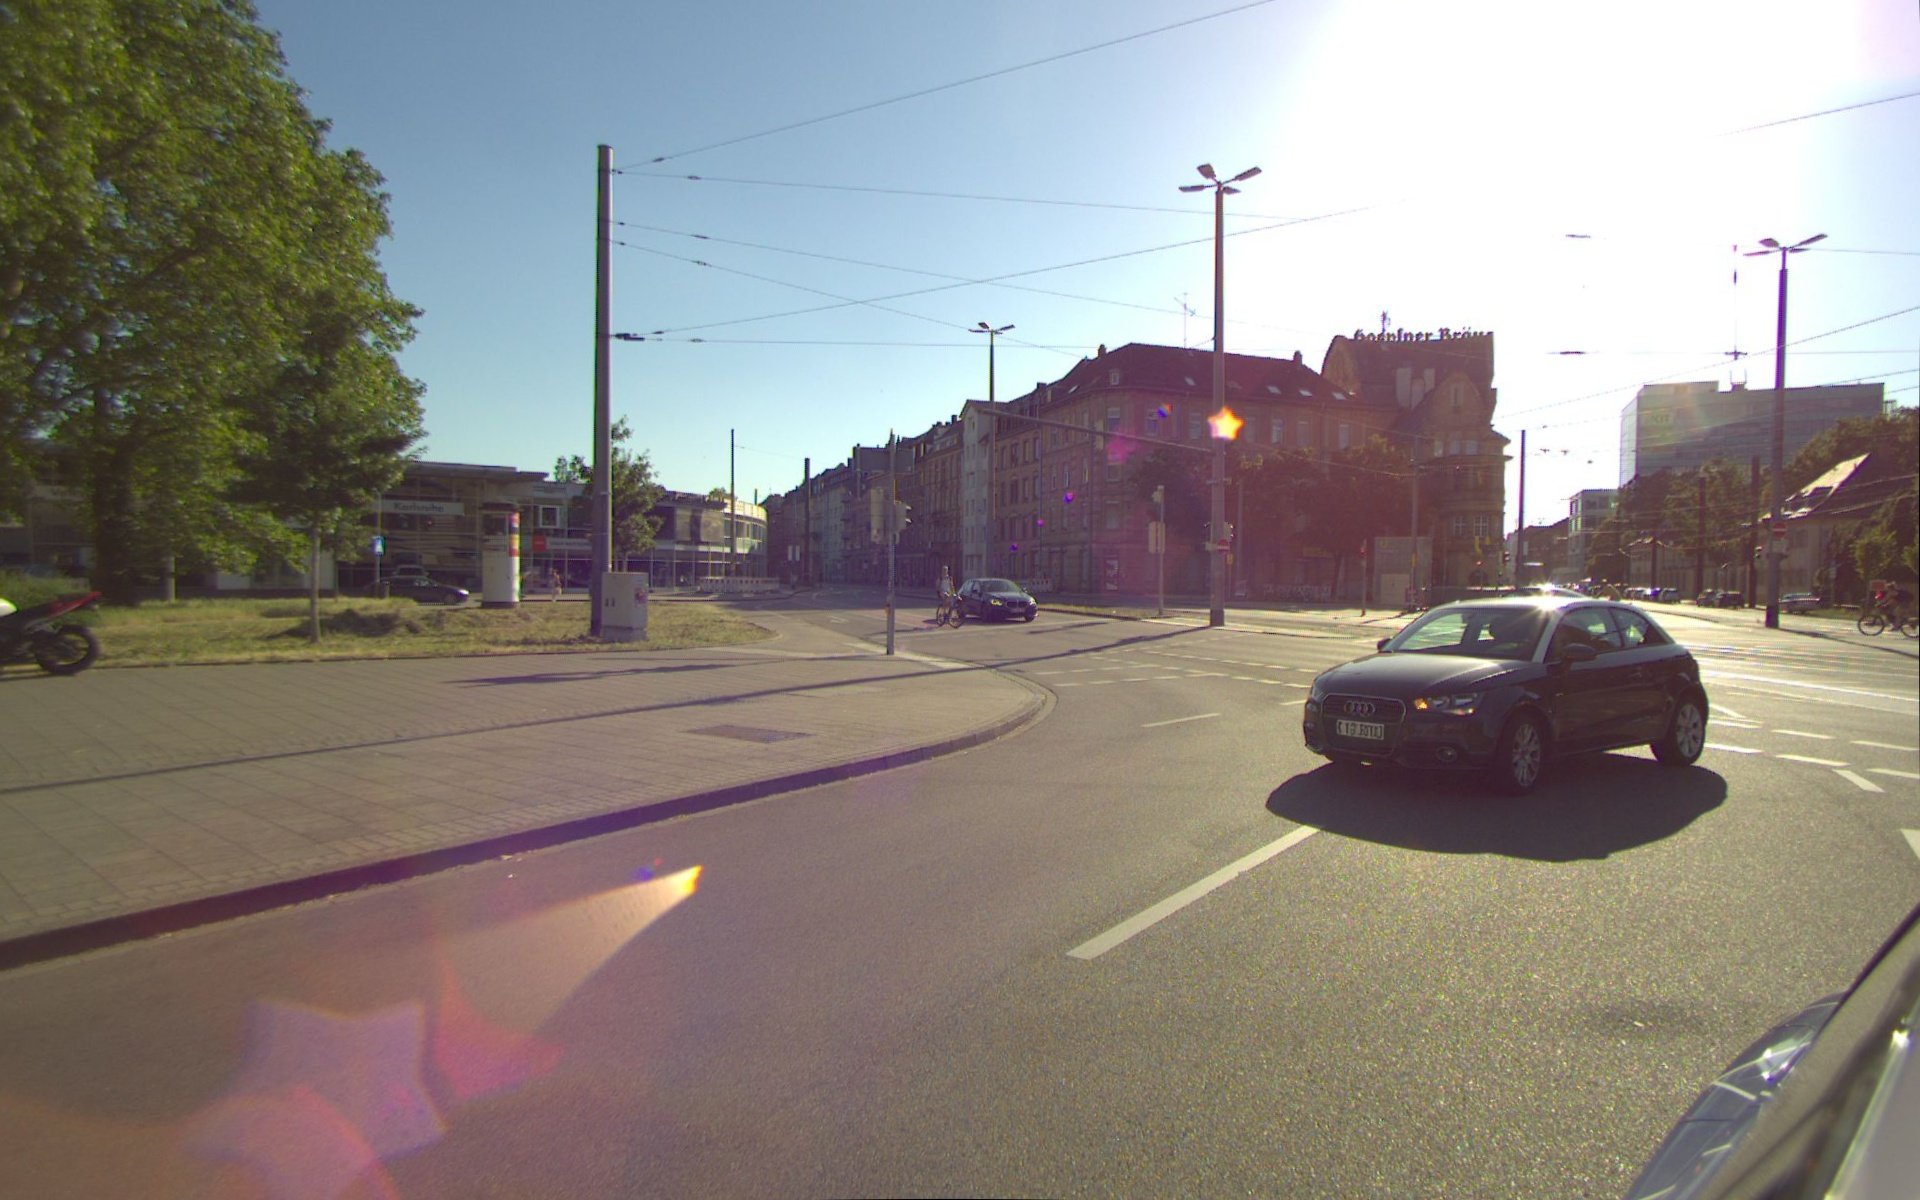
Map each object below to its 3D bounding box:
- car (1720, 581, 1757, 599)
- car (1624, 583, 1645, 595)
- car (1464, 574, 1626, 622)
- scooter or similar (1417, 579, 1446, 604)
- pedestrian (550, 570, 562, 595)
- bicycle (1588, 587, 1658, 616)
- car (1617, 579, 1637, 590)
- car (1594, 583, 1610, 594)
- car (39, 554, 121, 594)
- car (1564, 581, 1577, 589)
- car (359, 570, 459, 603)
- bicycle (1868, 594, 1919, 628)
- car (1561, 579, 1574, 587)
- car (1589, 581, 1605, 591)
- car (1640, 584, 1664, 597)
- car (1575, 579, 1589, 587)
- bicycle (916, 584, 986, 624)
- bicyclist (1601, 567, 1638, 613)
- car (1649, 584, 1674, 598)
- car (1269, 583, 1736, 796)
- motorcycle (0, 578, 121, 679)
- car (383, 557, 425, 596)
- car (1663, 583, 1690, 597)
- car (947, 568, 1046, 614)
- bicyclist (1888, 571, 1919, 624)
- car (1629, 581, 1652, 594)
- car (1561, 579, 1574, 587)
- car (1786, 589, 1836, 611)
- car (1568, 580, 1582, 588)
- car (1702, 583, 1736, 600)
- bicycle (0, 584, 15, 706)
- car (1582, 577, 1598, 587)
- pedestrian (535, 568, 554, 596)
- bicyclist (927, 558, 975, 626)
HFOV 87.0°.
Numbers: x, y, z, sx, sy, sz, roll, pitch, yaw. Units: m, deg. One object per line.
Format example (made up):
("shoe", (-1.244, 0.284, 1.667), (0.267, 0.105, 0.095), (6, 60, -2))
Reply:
("car", (68.272, -0.840, 88.820), (1.738, 1.482, 3.983), (1, 0, 25))
("car", (88.576, -1.490, 132.997), (1.738, 1.482, 3.983), (1, 0, 25))
("car", (20.049, -0.085, 34.905), (1.780, 1.511, 4.661), (0, 0, -26))
("scooter or similar", (23.849, -0.421, 51.193), (0.716, 1.215, 1.446), (2, 1, 0))
("pedestrian", (-22.177, -0.958, 55.545), (0.405, 1.331, 0.572), (0, 1, -43))
("bicycle", (25.596, 0.043, 39.093), (0.754, 1.040, 2.105), (1, 2, -38))
("car", (92.976, -2.197, 141.058), (1.738, 1.482, 3.983), (1, 0, 25))
("car", (101.412, -1.867, 159.896), (1.738, 1.626, 3.983), (1, 0, 25))
("car", (-43.702, -1.285, 50.241), (3.968, 1.528, 1.782), (7, 2, 29))
("car", (118.126, -2.949, 195.871), (1.738, 1.482, 3.983), (1, 0, 25))
("car", (-26.434, -0.657, 48.607), (4.083, 1.353, 1.756), (3, 0, -30))
("bicycle", (31.422, 0.376, 33.504), (0.635, 1.040, 1.910), (1, 1, -27))
("car", (122.818, -3.462, 204.560), (1.738, 1.482, 3.983), (1, 0, 25))
("car", (104.897, -2.345, 166.699), (1.738, 1.482, 3.983), (1, 0, 25))
("car", (83.034, -1.174, 121.418), (1.738, 1.482, 3.983), (1, 0, 25))
("car", (113.688, -3.123, 185.086), (1.738, 1.482, 3.983), (1, 0, 25))
("bicycle", (-0.306, 0.094, 31.518), (1.014, 1.137, 2.533), (-2, 3, -31))
("bicyclist", (25.531, -0.392, 39.183), (0.754, 1.716, 0.974), (1, 1, -39))
("car", (80.896, -1.035, 116.814), (1.738, 1.482, 3.983), (1, 0, 25))
("car", (4.584, 0.581, 8.473), (3.755, 1.405, 1.698), (0, 2, -30))
("motorcycle", (-11.174, 0.313, 11.547), (1.029, 1.087, 2.264), (3, 2, 23))
("car", (-32.041, -1.373, 58.284), (1.960, 2.039, 4.005), (3, 0, -30))
("car", (78.939, -1.102, 111.540), (1.738, 1.482, 3.983), (1, 0, 25))
("car", (1.189, -0.351, 35.168), (1.958, 1.471, 4.009), (0, 2, -22))
("bicyclist", (31.466, -0.080, 33.441), (0.635, 1.716, 0.977), (1, 1, -27))
("car", (86.456, -1.571, 128.613), (1.738, 1.482, 3.983), (1, 0, 25))
("car", (120.134, -3.301, 200.090), (1.738, 1.482, 3.983), (1, 0, 25))
("car", (60.292, 0.024, 71.751), (1.738, 1.482, 3.983), (1, 0, 25))
("car", (115.722, -3.041, 190.403), (1.738, 1.482, 3.983), (1, 0, 25))
("car", (70.615, -0.763, 94.214), (1.738, 1.482, 3.983), (1, 0, 25))
("bicycle", (-10.154, 0.379, 8.916), (1.028, 1.137, 2.498), (3, 0, 35))
("car", (106.288, -3.047, 170.720), (1.738, 1.482, 3.983), (1, 0, 25))
("pedestrian", (-22.632, -0.981, 55.163), (0.711, 1.534, 0.830), (0, 2, -43))
("bicyclist", (-0.283, -0.279, 31.500), (1.014, 2.038, 1.145), (-2, 2, -31))
